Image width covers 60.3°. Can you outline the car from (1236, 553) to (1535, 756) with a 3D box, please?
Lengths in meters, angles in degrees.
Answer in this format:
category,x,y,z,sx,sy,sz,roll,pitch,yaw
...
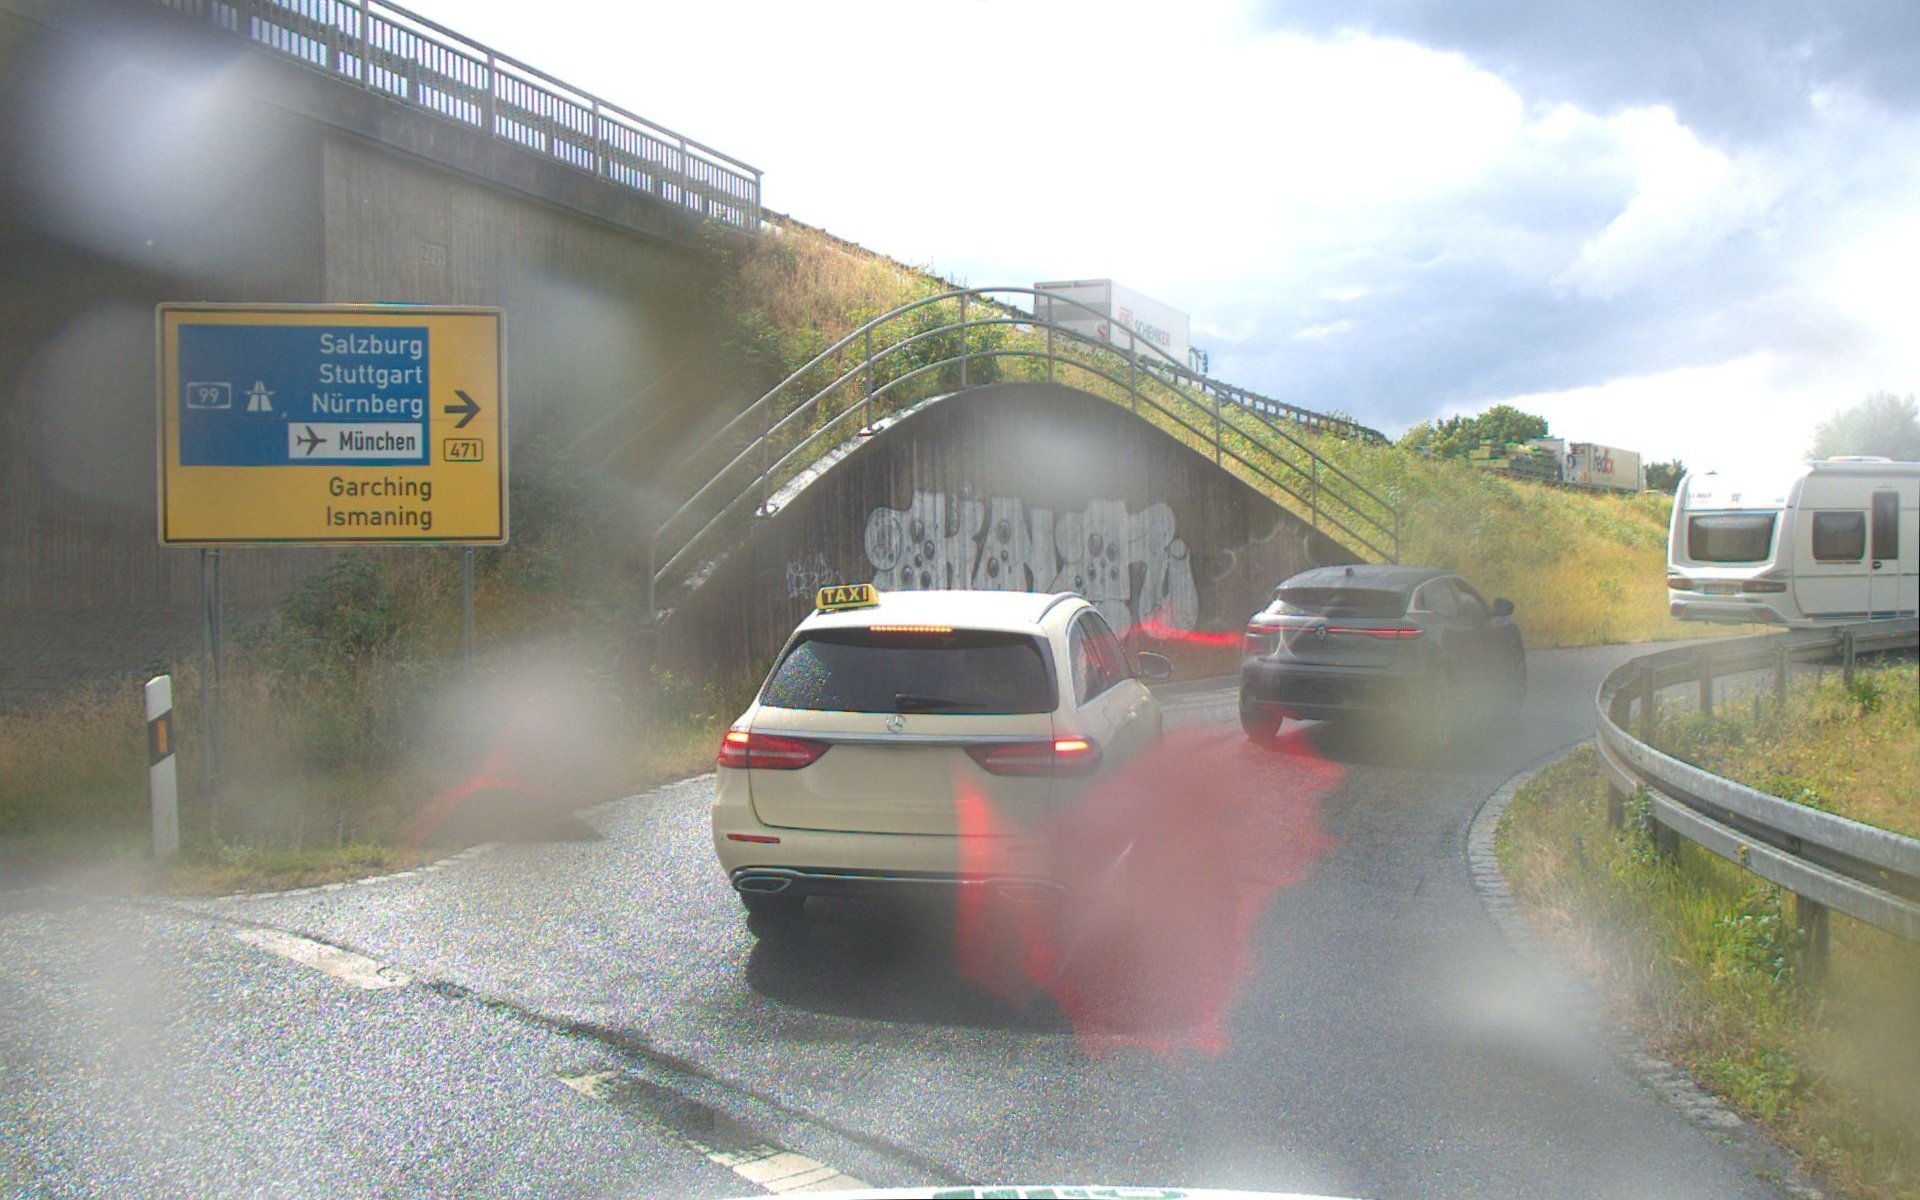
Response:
category,x,y,z,sx,sy,sz,roll,pitch,yaw
car,4.026,0.369,15.192,1.686,1.551,3.993,1,2,29

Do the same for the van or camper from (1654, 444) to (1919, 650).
category,x,y,z,sx,sy,sz,roll,pitch,yaw
van or camper,13.490,-0.844,24.580,5.898,2.776,2.423,-2,2,-22

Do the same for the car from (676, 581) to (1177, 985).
category,x,y,z,sx,sy,sz,roll,pitch,yaw
car,0.147,0.703,8.699,1.875,1.534,4.600,0,0,9

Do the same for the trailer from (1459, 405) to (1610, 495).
category,x,y,z,sx,sy,sz,roll,pitch,yaw
trailer,37.174,-9.357,106.071,4.336,4.025,20.158,1,0,33

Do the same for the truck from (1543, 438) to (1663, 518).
category,x,y,z,sx,sy,sz,roll,pitch,yaw
truck,47.825,-8.790,122.337,4.382,4.581,19.319,1,0,33

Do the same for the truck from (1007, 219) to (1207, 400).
category,x,y,z,sx,sy,sz,roll,pitch,yaw
truck,4.849,-8.880,52.138,3.118,4.035,9.227,1,0,26
